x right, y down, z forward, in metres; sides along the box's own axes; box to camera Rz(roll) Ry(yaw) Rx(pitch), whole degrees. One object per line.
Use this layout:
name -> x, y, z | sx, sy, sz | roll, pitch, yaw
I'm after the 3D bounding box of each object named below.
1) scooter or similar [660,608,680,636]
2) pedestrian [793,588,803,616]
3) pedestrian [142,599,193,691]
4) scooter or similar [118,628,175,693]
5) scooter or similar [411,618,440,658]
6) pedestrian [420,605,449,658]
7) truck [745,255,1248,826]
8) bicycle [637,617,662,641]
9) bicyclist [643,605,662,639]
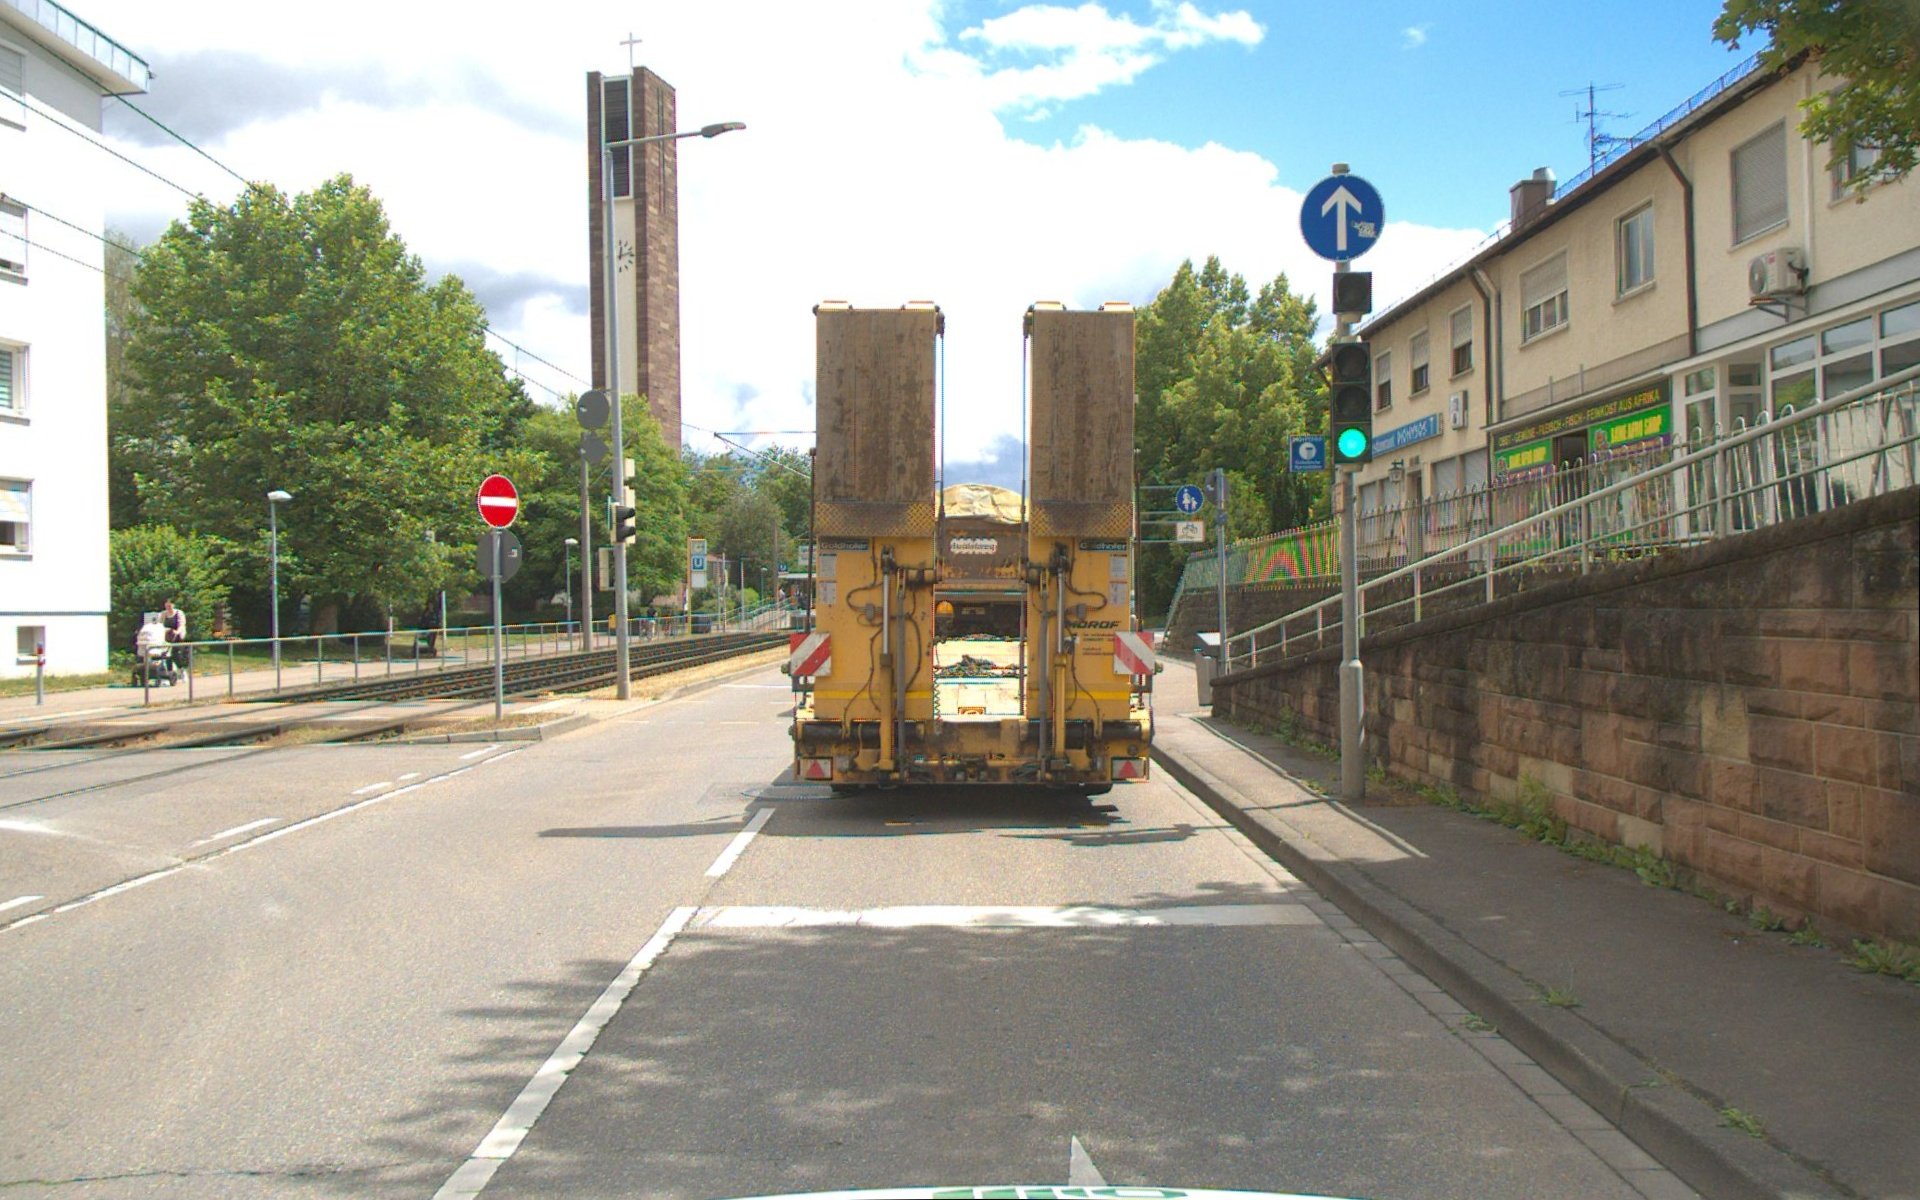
scooter or similar -> -13.407, 1.013, 76.459 | 0.636, 1.258, 1.401 | 1, 0, 2
pedestrian -> -12.095, 0.159, 123.574 | 0.697, 2.049, 0.732 | 1, -1, -1
pedestrian -> -15.115, 0.849, 31.544 | 0.632, 1.722, 0.679 | 0, -1, 1
scooter or similar -> -15.121, 1.112, 30.748 | 0.595, 1.184, 0.892 | -1, -1, 1
scooter or similar -> -15.533, 1.095, 48.090 | 0.592, 1.134, 0.821 | 0, -1, -1
pedestrian -> -15.544, 0.930, 48.935 | 0.600, 1.567, 0.874 | 0, -1, 0
truck -> 0.132, -0.365, 17.977 | 3.333, 3.798, 13.735 | -1, 0, -1
bicycle -> -13.173, 1.228, 70.267 | 0.624, 1.011, 1.928 | 1, 0, 1
bicyclist -> -13.106, 0.944, 70.488 | 0.620, 1.454, 0.790 | 1, -1, 1
